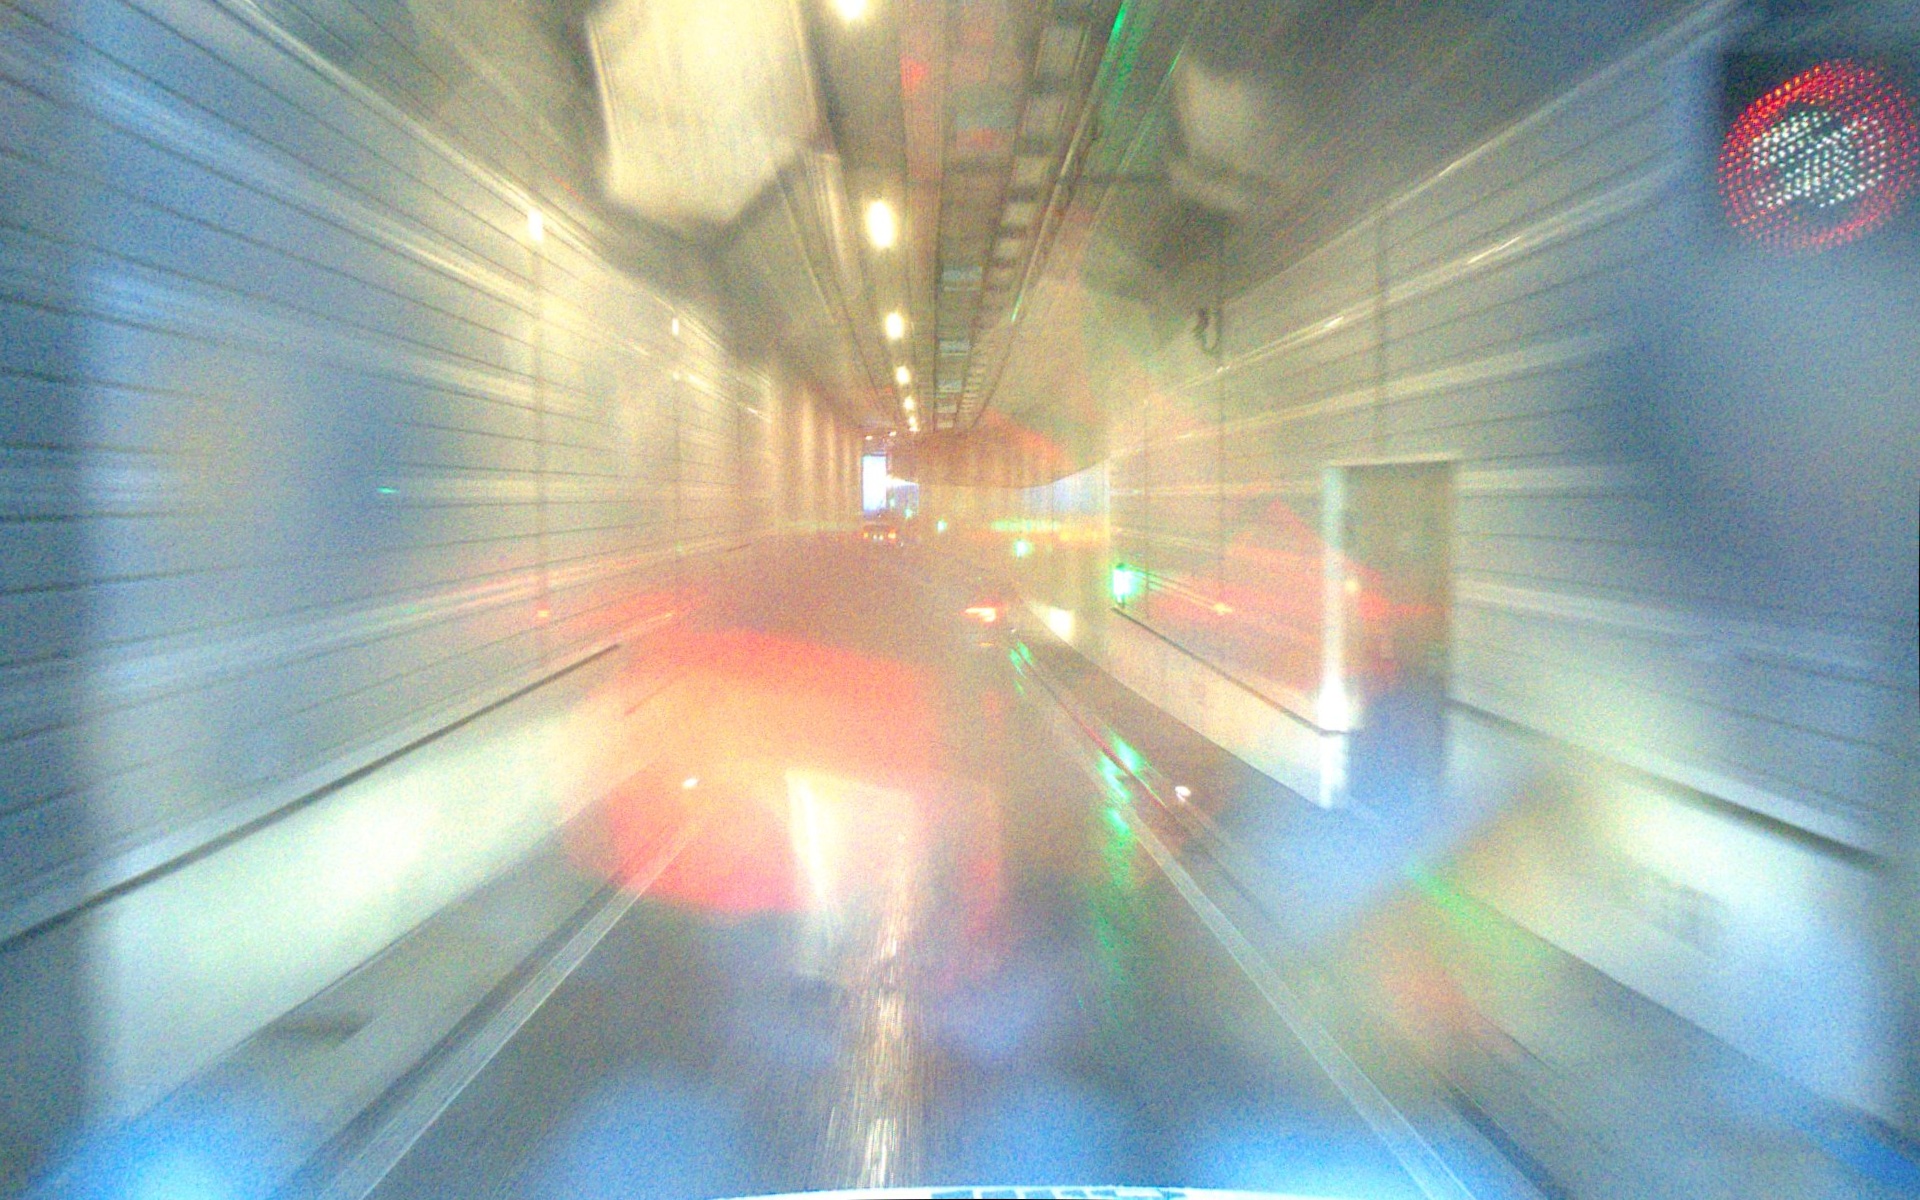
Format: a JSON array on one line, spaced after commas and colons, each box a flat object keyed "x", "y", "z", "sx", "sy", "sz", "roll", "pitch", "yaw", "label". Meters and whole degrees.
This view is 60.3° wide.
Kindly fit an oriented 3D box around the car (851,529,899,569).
[{"x": -3.820, "y": -2.293, "z": 73.583, "sx": 1.844, "sy": 1.648, "sz": 3.995, "roll": 1, "pitch": 2, "yaw": -7, "label": "car"}]

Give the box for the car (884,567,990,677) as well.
[{"x": -0.362, "y": 0.285, "z": 25.341, "sx": 1.501, "sy": 1.421, "sz": 3.434, "roll": 1, "pitch": 4, "yaw": -1, "label": "car"}]
